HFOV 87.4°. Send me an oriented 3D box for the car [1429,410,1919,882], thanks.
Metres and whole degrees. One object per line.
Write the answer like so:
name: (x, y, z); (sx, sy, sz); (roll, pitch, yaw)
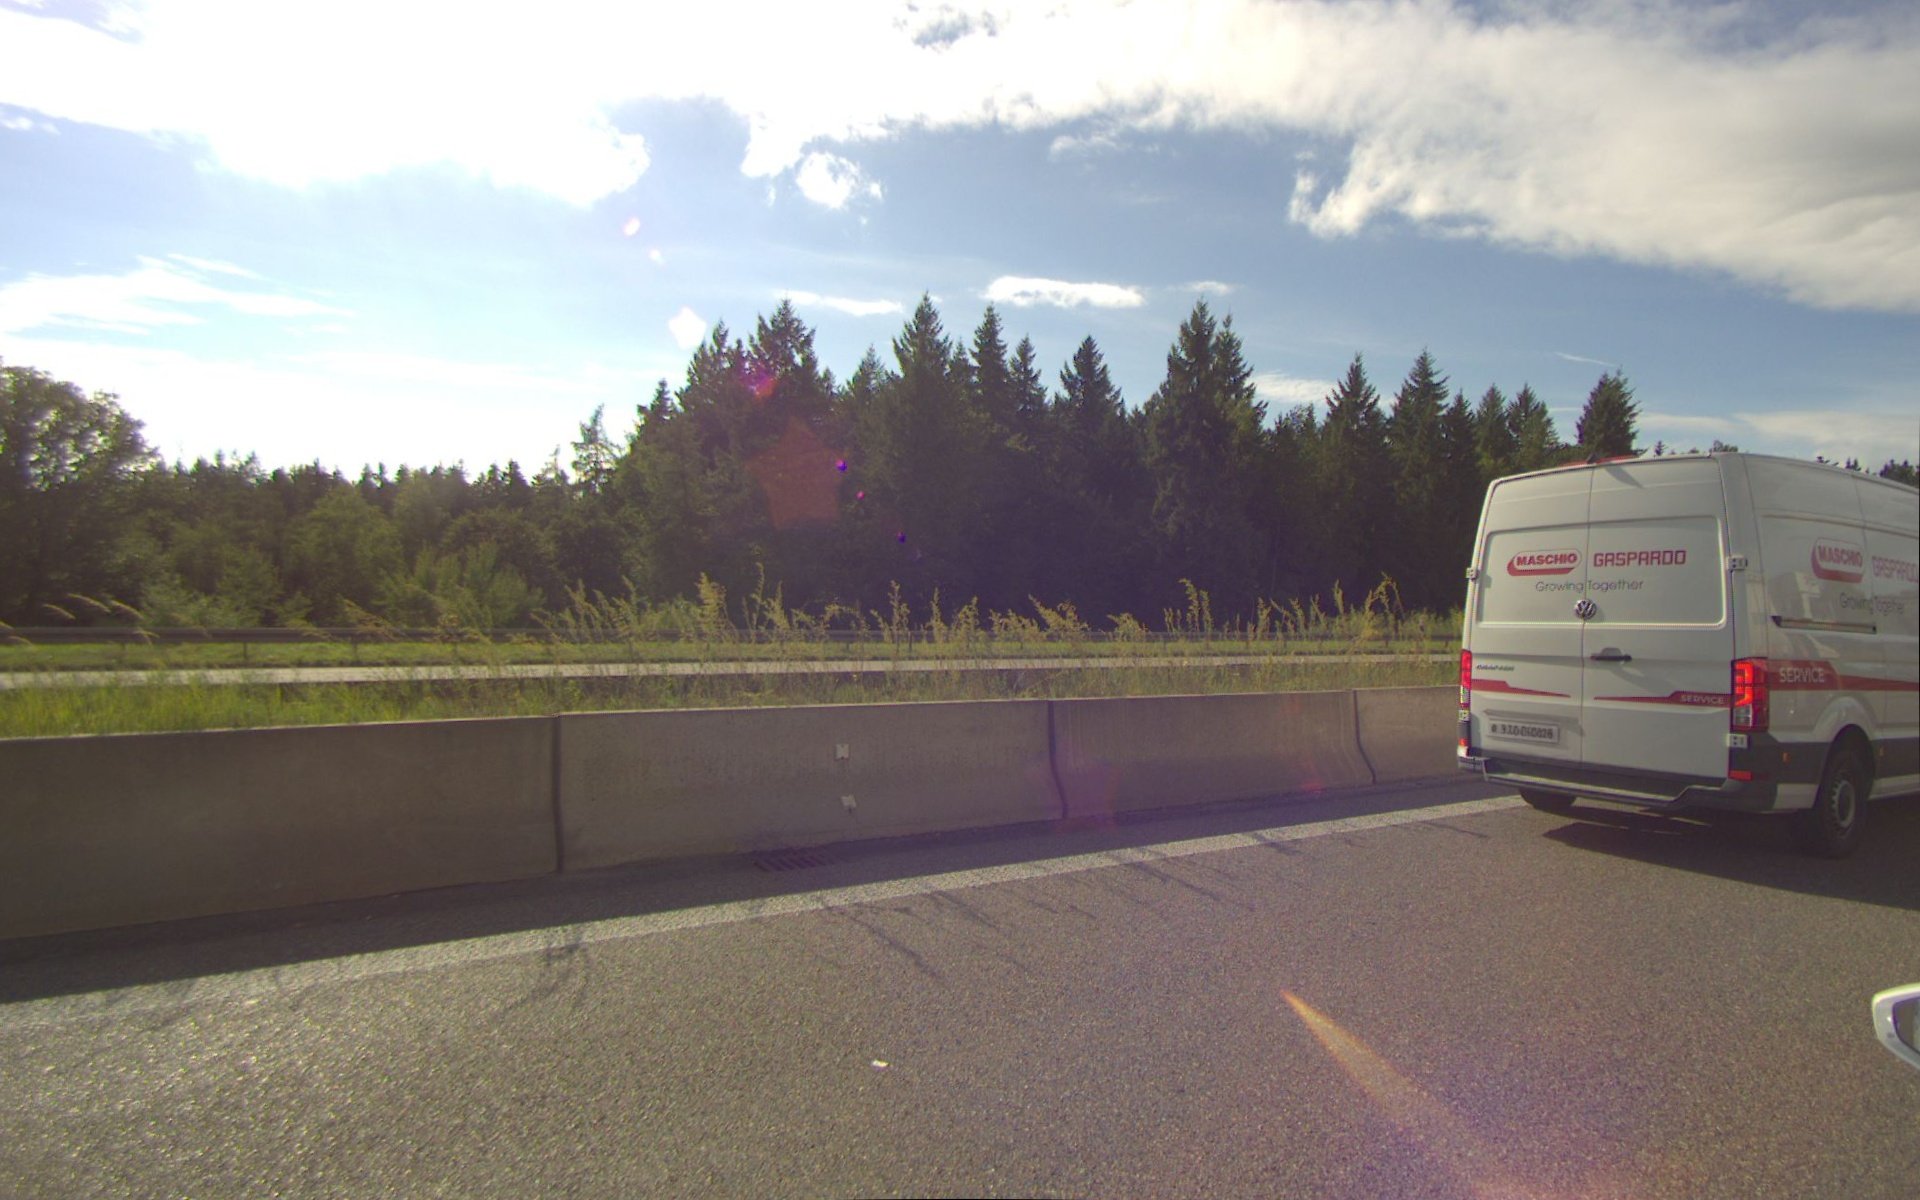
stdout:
car: (6.562, 0.326, 8.060); (6.111, 2.633, 2.005); (1, -1, -31)
